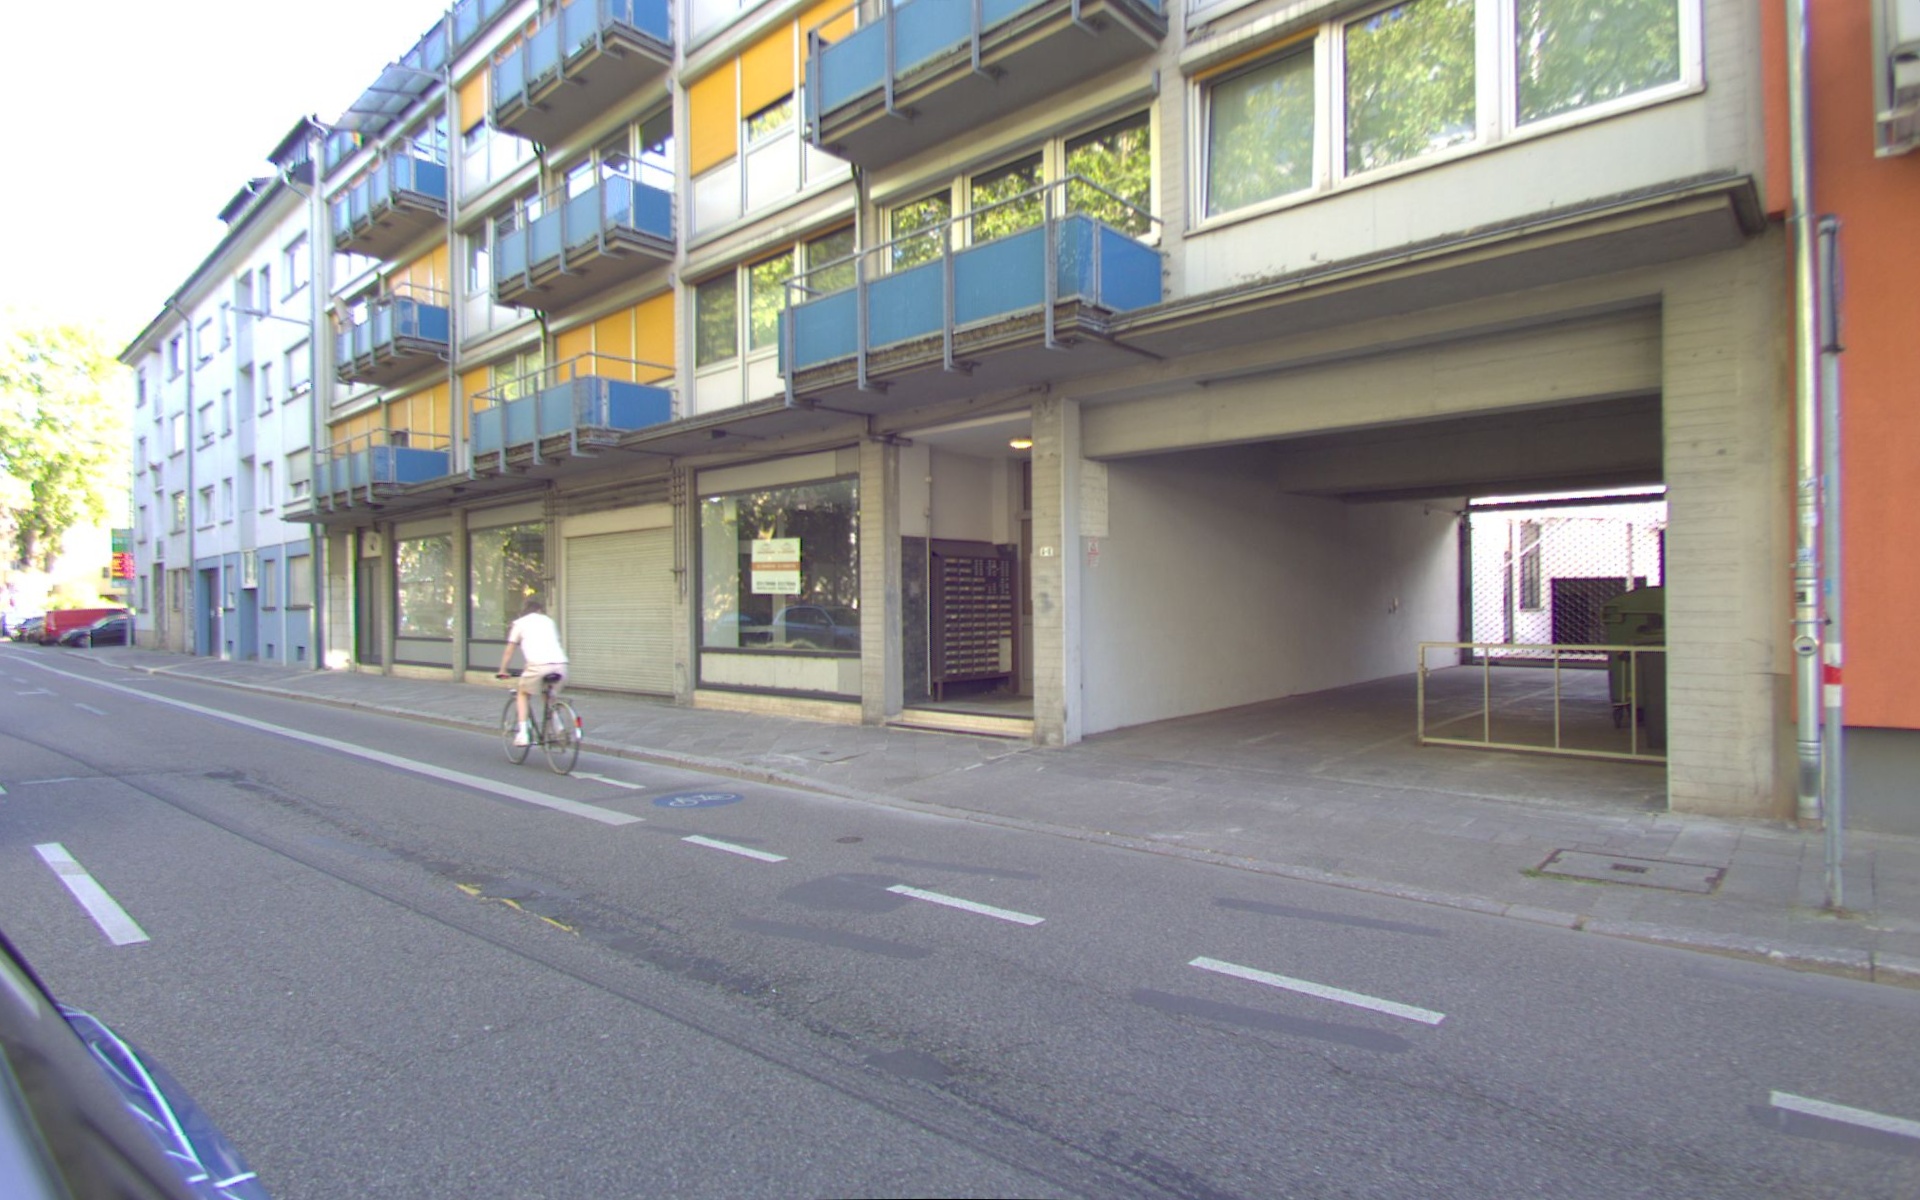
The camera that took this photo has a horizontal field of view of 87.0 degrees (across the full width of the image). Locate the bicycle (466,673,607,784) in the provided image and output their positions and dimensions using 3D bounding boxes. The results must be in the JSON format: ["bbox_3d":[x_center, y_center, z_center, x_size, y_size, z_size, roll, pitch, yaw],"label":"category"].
[{"bbox_3d":[-4.222,1.223,10.015,1.867,0.898,0.542,-1,0,42],"label":"bicycle"}]

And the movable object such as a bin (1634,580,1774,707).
[{"bbox_3d":[9.429,0.509,12.827,1.281,1.497,1.146,-1,0,44],"label":"movable object such as a bin"}]

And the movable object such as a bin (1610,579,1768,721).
[{"bbox_3d":[8.277,0.525,11.484,1.281,1.484,1.256,-1,-1,44],"label":"movable object such as a bin"}]

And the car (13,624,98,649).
[{"bbox_3d":[-56.640,2.247,63.416,1.595,1.385,3.853,-1,0,43],"label":"car"}]

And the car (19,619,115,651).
[{"bbox_3d":[-49.463,1.904,56.121,1.604,1.598,3.853,-1,0,43],"label":"car"}]

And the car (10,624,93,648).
[{"bbox_3d":[-58.621,2.311,65.332,1.526,1.343,3.853,-1,0,43],"label":"car"}]

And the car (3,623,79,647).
[{"bbox_3d":[-62.396,2.329,68.723,1.539,1.451,3.732,-1,0,43],"label":"car"}]

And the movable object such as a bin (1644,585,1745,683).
[{"bbox_3d":[11.710,0.512,16.142,1.143,1.476,1.121,-1,0,44],"label":"movable object such as a bin"}]

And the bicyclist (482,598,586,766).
[{"bbox_3d":[-4.216,0.771,10.005,0.806,1.570,0.641,-1,0,42],"label":"bicyclist"}]

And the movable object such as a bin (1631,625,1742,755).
[{"bbox_3d":[6.343,0.754,8.836,0.703,1.055,0.563,-1,0,44],"label":"movable object such as a bin"}]

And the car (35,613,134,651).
[{"bbox_3d":[-47.145,1.683,54.538,1.749,1.921,3.853,-2,-1,43],"label":"car"}]

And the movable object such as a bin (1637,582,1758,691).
[{"bbox_3d":[10.827,0.502,14.864,1.281,1.497,1.146,-1,0,44],"label":"movable object such as a bin"}]

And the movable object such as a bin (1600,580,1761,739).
[{"bbox_3d":[7.286,0.550,10.227,1.143,1.476,1.246,-1,0,44],"label":"movable object such as a bin"}]

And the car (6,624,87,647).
[{"bbox_3d":[-60.398,2.337,66.927,1.526,1.343,3.853,-1,0,43],"label":"car"}]

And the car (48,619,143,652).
[{"bbox_3d":[-44.985,1.815,52.680,1.602,1.521,3.619,-1,0,43],"label":"car"}]

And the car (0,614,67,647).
[{"bbox_3d":[-65.843,2.114,71.618,1.725,2.193,3.853,-1,0,43],"label":"car"}]

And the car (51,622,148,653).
[{"bbox_3d":[-43.298,1.859,50.952,1.534,1.420,3.550,-2,0,43],"label":"car"}]
